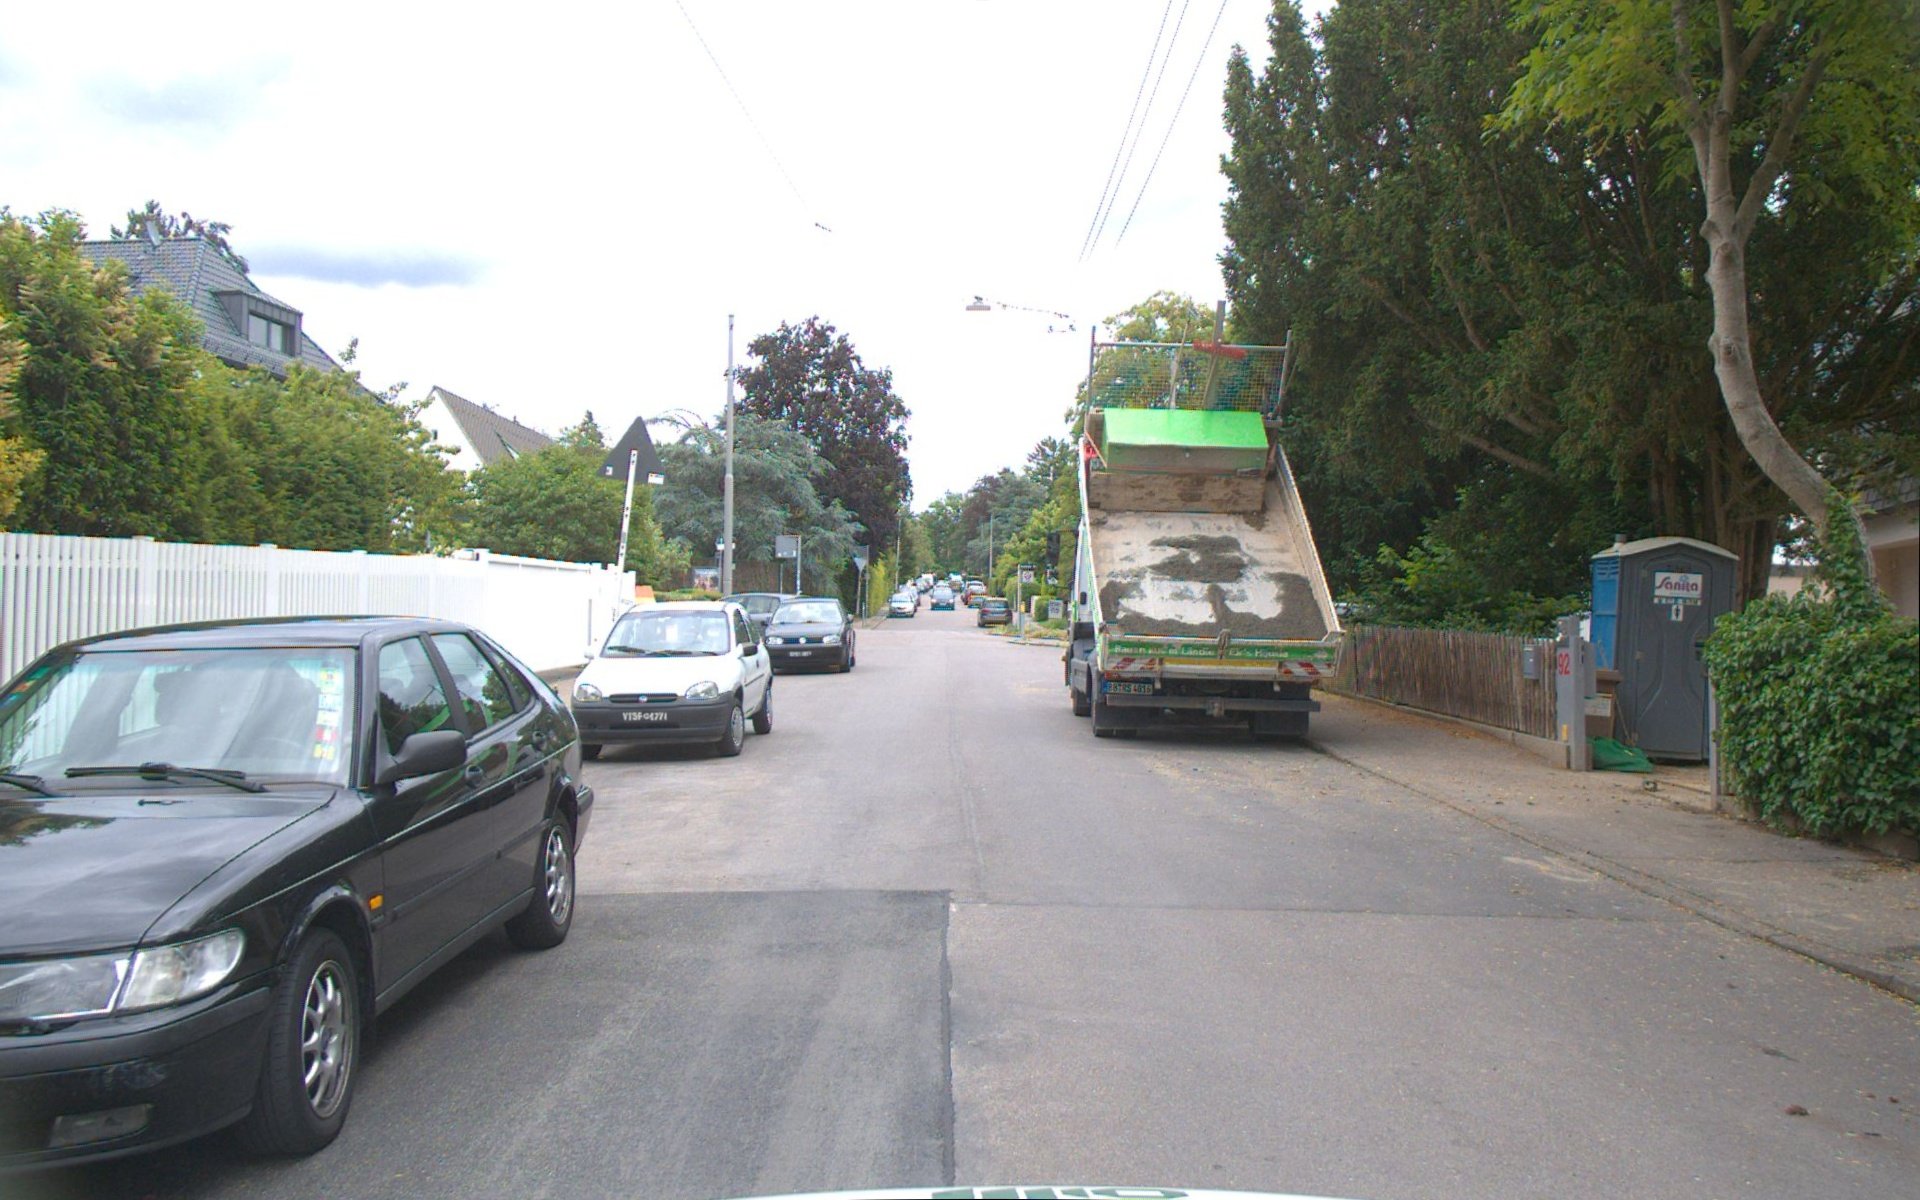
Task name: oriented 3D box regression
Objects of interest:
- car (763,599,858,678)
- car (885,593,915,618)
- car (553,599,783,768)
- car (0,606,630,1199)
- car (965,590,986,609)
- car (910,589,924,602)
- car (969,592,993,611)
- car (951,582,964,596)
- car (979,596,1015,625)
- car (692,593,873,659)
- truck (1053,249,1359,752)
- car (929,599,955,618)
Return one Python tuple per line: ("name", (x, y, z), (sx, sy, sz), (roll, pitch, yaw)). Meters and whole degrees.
("car", (-2.899, 0.710, 32.755), (1.604, 1.419, 3.987), (-2, 0, -2))
("car", (-3.945, 0.370, 109.201), (1.676, 1.613, 4.001), (1, 0, 2))
("car", (-2.813, 0.737, 16.723), (1.563, 1.458, 4.000), (-1, 0, 0))
("car", (-2.479, 0.781, 5.741), (1.607, 1.447, 4.550), (-2, 0, 1))
("car", (1.303, -0.046, 141.721), (1.752, 1.556, 3.734), (1, 0, 1))
("car", (-5.171, -0.532, 197.577), (1.593, 1.410, 3.597), (2, 0, -1))
("car", (1.686, 0.120, 132.896), (1.773, 1.359, 3.631), (2, 1, -1))
("car", (-0.294, -1.360, 209.691), (1.601, 1.731, 3.493), (1, 0, -1))
("car", (1.976, 0.547, 89.289), (1.743, 1.515, 3.999), (1, 0, -2))
("car", (-4.220, 0.594, 39.572), (3.902, 1.469, 1.828), (1, 1, 16))
("truck", (2.600, -0.965, 19.692), (2.473, 4.831, 7.187), (1, 0, 0))
("car", (-1.369, 0.649, 124.476), (1.692, 1.432, 3.805), (0, 0, 3))
